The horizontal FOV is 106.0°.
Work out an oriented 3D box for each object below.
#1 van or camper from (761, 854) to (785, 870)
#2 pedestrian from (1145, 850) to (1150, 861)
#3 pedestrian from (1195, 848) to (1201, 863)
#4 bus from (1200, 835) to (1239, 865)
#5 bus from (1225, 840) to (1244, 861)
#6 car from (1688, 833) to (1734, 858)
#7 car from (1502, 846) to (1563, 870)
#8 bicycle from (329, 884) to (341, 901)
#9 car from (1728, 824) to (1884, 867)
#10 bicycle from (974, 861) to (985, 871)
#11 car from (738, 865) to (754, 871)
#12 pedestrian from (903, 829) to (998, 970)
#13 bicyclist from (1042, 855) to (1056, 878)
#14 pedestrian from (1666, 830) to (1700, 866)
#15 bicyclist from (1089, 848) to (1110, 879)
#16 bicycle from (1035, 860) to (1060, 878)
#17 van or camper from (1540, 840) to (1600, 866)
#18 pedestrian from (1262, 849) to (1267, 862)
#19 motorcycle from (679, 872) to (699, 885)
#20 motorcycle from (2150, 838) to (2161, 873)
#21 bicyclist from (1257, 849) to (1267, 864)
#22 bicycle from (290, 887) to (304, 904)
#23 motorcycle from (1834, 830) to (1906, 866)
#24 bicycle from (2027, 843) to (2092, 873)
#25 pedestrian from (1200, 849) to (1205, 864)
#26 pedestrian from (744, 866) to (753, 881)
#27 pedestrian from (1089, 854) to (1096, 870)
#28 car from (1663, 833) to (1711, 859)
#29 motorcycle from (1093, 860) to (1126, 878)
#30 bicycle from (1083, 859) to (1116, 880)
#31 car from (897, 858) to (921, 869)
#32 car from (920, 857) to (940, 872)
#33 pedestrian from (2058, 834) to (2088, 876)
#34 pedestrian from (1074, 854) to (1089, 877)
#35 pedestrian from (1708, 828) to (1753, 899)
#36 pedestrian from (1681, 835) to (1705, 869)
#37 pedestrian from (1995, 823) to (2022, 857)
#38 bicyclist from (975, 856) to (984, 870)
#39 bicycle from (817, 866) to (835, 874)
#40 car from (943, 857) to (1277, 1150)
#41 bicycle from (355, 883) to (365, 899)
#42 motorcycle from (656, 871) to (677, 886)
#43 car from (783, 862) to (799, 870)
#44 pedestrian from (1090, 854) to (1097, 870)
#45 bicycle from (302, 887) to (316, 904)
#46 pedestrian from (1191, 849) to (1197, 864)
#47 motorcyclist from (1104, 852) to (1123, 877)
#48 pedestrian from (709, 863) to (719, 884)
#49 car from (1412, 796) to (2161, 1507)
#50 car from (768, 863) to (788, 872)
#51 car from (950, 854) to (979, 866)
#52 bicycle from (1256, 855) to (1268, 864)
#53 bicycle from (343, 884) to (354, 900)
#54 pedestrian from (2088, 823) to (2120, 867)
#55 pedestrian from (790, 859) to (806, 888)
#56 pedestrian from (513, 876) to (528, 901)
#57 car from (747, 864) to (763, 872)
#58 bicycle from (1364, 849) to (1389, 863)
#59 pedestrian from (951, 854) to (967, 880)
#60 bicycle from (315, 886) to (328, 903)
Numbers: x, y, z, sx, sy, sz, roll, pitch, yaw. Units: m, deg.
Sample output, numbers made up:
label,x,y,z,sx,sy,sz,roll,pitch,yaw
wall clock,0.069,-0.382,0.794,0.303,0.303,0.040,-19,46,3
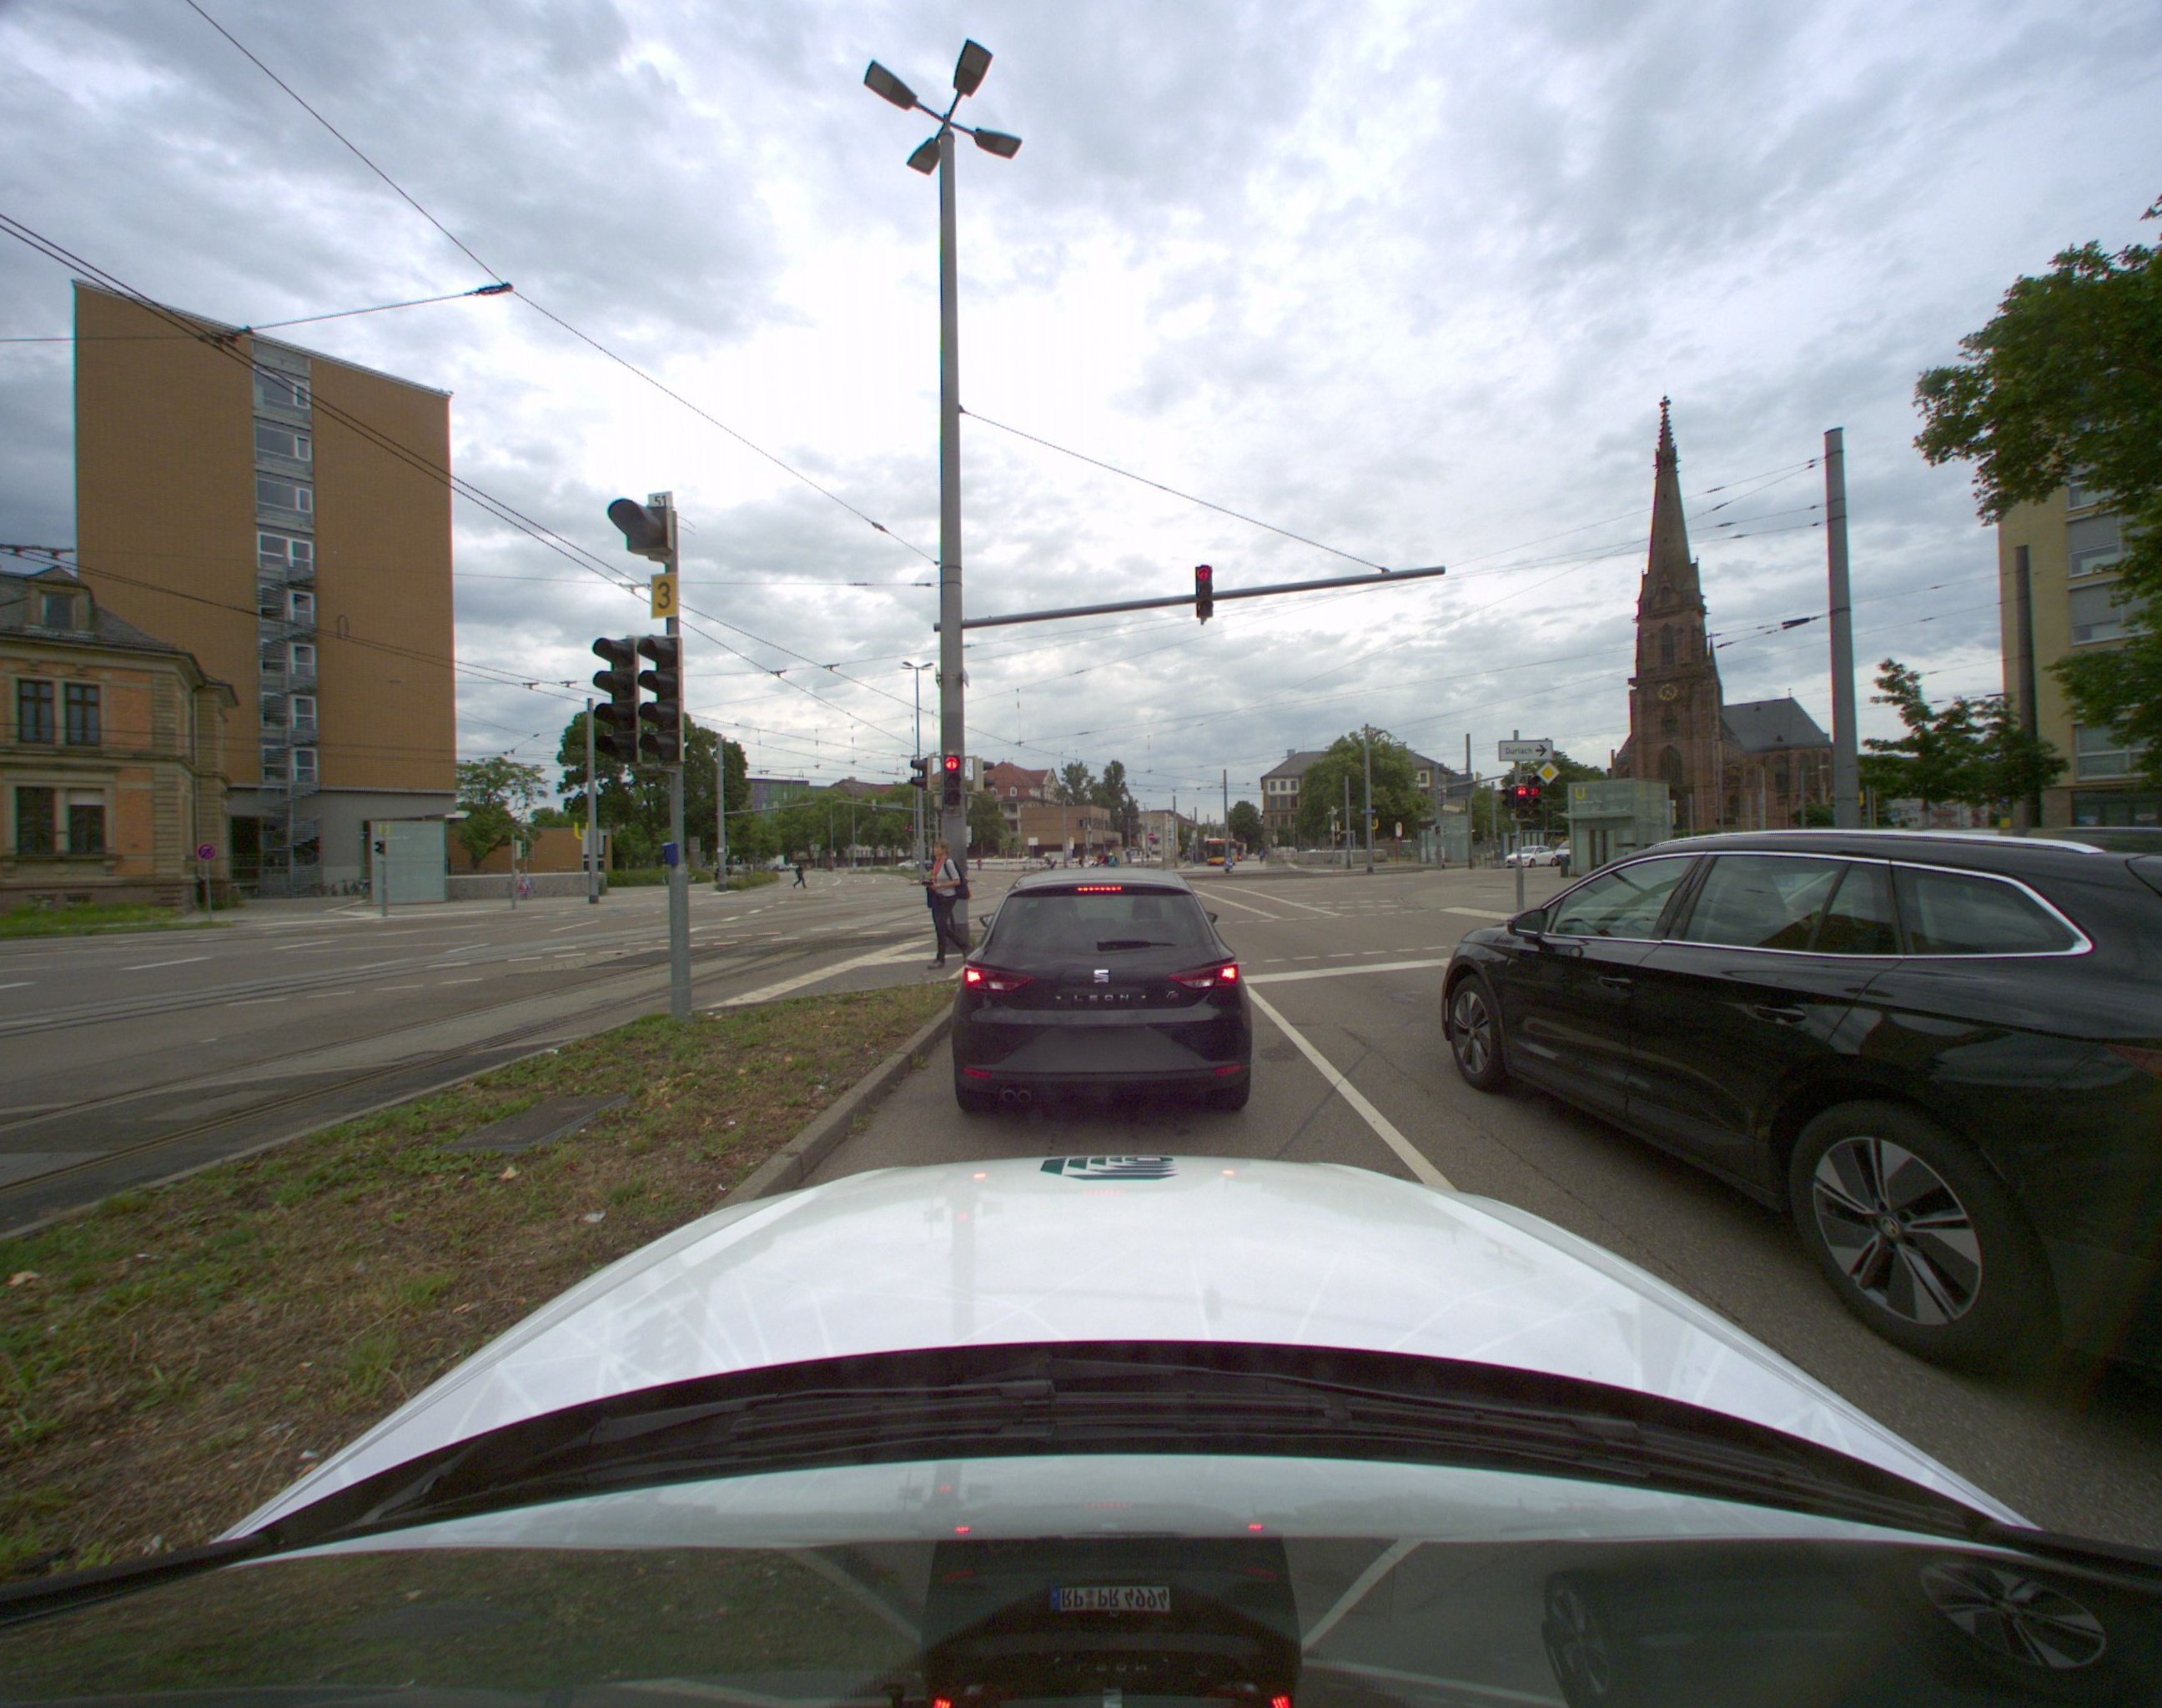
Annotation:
label,x,y,z,sx,sy,sz,roll,pitch,yaw
van or camper,-62.829,1.720,165.997,5.434,3.124,2.410,-2,0,43
pedestrian,11.281,0.299,138.458,0.615,1.918,0.715,-3,-2,27
pedestrian,15.150,0.234,105.397,0.618,1.918,0.711,-2,0,5
bus,15.964,-0.441,93.280,2.938,3.123,11.589,-2,0,16
bus,25.730,-0.607,136.291,2.635,3.283,11.034,-2,0,13
car,53.570,-0.737,69.198,4.017,2.013,1.978,-1,0,-36
car,30.401,0.261,54.836,4.011,1.464,1.758,-1,-2,-30
bicycle,-51.156,2.633,55.843,0.575,1.106,1.411,-1,0,-41
car,37.659,-0.400,42.524,5.672,2.014,2.038,-2,-2,19
bicycle,-12.399,1.460,99.519,0.895,1.178,2.287,-1,0,-20
car,-73.822,3.082,179.405,3.949,1.464,1.792,-1,0,43
pedestrian,-1.859,0.618,11.633,1.110,1.907,0.727,0,-1,-41
bicyclist,-2.393,0.914,61.172,0.857,1.673,0.649,-1,0,-23
pedestrian,31.067,-0.315,42.005,0.950,1.797,1.076,-1,-2,-33
bicyclist,1.128,0.593,49.904,1.003,1.898,0.768,-1,-1,-44
bicycle,-2.513,1.105,61.131,1.737,1.321,0.640,-1,0,-23
van or camper,35.273,-0.097,58.686,4.321,1.742,1.979,-1,-2,-34
pedestrian,30.936,0.246,137.098,0.659,2.013,0.692,-2,0,2
motorcycle,-34.418,2.162,71.510,0.506,1.111,1.751,-2,0,15
motorcycle,31.853,0.039,23.647,1.021,0.997,0.863,-1,0,-44
bicyclist,22.352,0.281,100.661,0.869,1.851,1.046,-1,0,-4
bicycle,-52.537,2.785,54.556,0.575,1.106,1.411,-1,0,-41
motorcycle,26.952,-0.216,27.818,2.386,1.168,0.762,-1,0,-19
bicycle,31.508,0.135,26.237,0.596,0.917,1.253,-1,0,-28
pedestrian,15.591,0.326,104.398,0.617,1.918,0.701,-2,0,11
pedestrian,-43.081,2.520,105.488,0.880,1.981,0.791,-1,-2,-17
pedestrian,1.349,0.929,96.734,0.704,1.918,0.625,-2,0,9
car,49.707,-0.644,66.760,4.017,2.013,1.978,-1,0,-36
motorcycle,1.906,0.978,54.319,2.149,1.139,0.737,-1,0,-31
bicycle,1.154,0.931,49.904,2.044,1.184,0.768,-1,0,-44
car,-29.889,1.612,141.727,3.992,1.772,1.708,-2,0,-13
car,-19.570,1.372,105.428,2.000,1.684,3.973,-1,-1,-20
pedestrian,39.620,0.026,32.534,0.875,1.638,0.631,-1,0,-32
pedestrian,0.069,0.988,68.554,0.692,1.934,1.037,-2,0,40
pedestrian,18.252,0.256,22.882,0.878,1.930,1.023,-1,0,43
pedestrian,30.163,-0.098,40.151,0.875,1.638,0.631,-1,0,-32
pedestrian,45.274,-0.688,39.766,0.640,1.638,0.778,-1,0,-35
bicyclist,-12.338,1.105,99.277,0.886,1.732,0.888,-1,0,-20
bicycle,-38.453,2.370,122.904,0.930,1.179,2.747,-2,0,30
car,0.092,0.772,6.113,1.700,1.449,3.809,-1,0,-2
bicycle,-50.239,2.593,56.726,0.484,1.049,1.411,-1,0,-41
motorcycle,-35.446,2.078,69.605,1.481,1.268,0.505,-1,0,-44
car,-59.483,2.476,167.097,1.791,1.464,3.952,-1,0,-42
pedestrian,1.506,0.942,97.527,0.704,1.918,0.625,-2,0,9
bicycle,-52.087,2.771,54.961,0.575,1.106,1.411,-1,0,-41
pedestrian,14.429,0.355,103.943,0.617,1.918,0.701,-2,0,11
motorcyclist,2.148,0.714,54.465,0.984,1.649,0.742,-1,-1,-31
pedestrian,-35.429,1.850,78.614,0.799,1.981,0.872,-1,-2,-33
car,3.325,0.651,3.776,1.771,1.597,4.510,-1,0,1
car,-53.959,2.393,144.819,1.792,1.464,3.950,-1,0,-45
car,-17.640,0.912,123.678,3.970,1.684,2.001,-2,-1,3
bicycle,22.362,0.707,100.669,0.863,1.104,2.299,-1,0,-3
bicycle,-50.652,2.623,56.287,0.512,1.049,1.411,-1,0,-41
pedestrian,38.799,-0.340,30.885,0.875,1.638,0.631,-1,0,-31
pedestrian,-20.549,1.404,59.059,1.023,2.013,0.841,-1,0,-18
pedestrian,-30.759,1.891,44.706,0.492,1.336,0.577,-2,-1,41
car,-68.756,2.930,171.596,1.792,1.464,3.951,-1,0,-44
bicycle,29.657,0.172,81.732,2.248,1.331,0.709,-2,-2,9
pedestrian,-9.361,1.018,62.531,1.032,1.934,0.695,-2,0,-24
bicycle,-51.640,2.773,55.366,0.575,1.106,1.411,-1,0,-41
